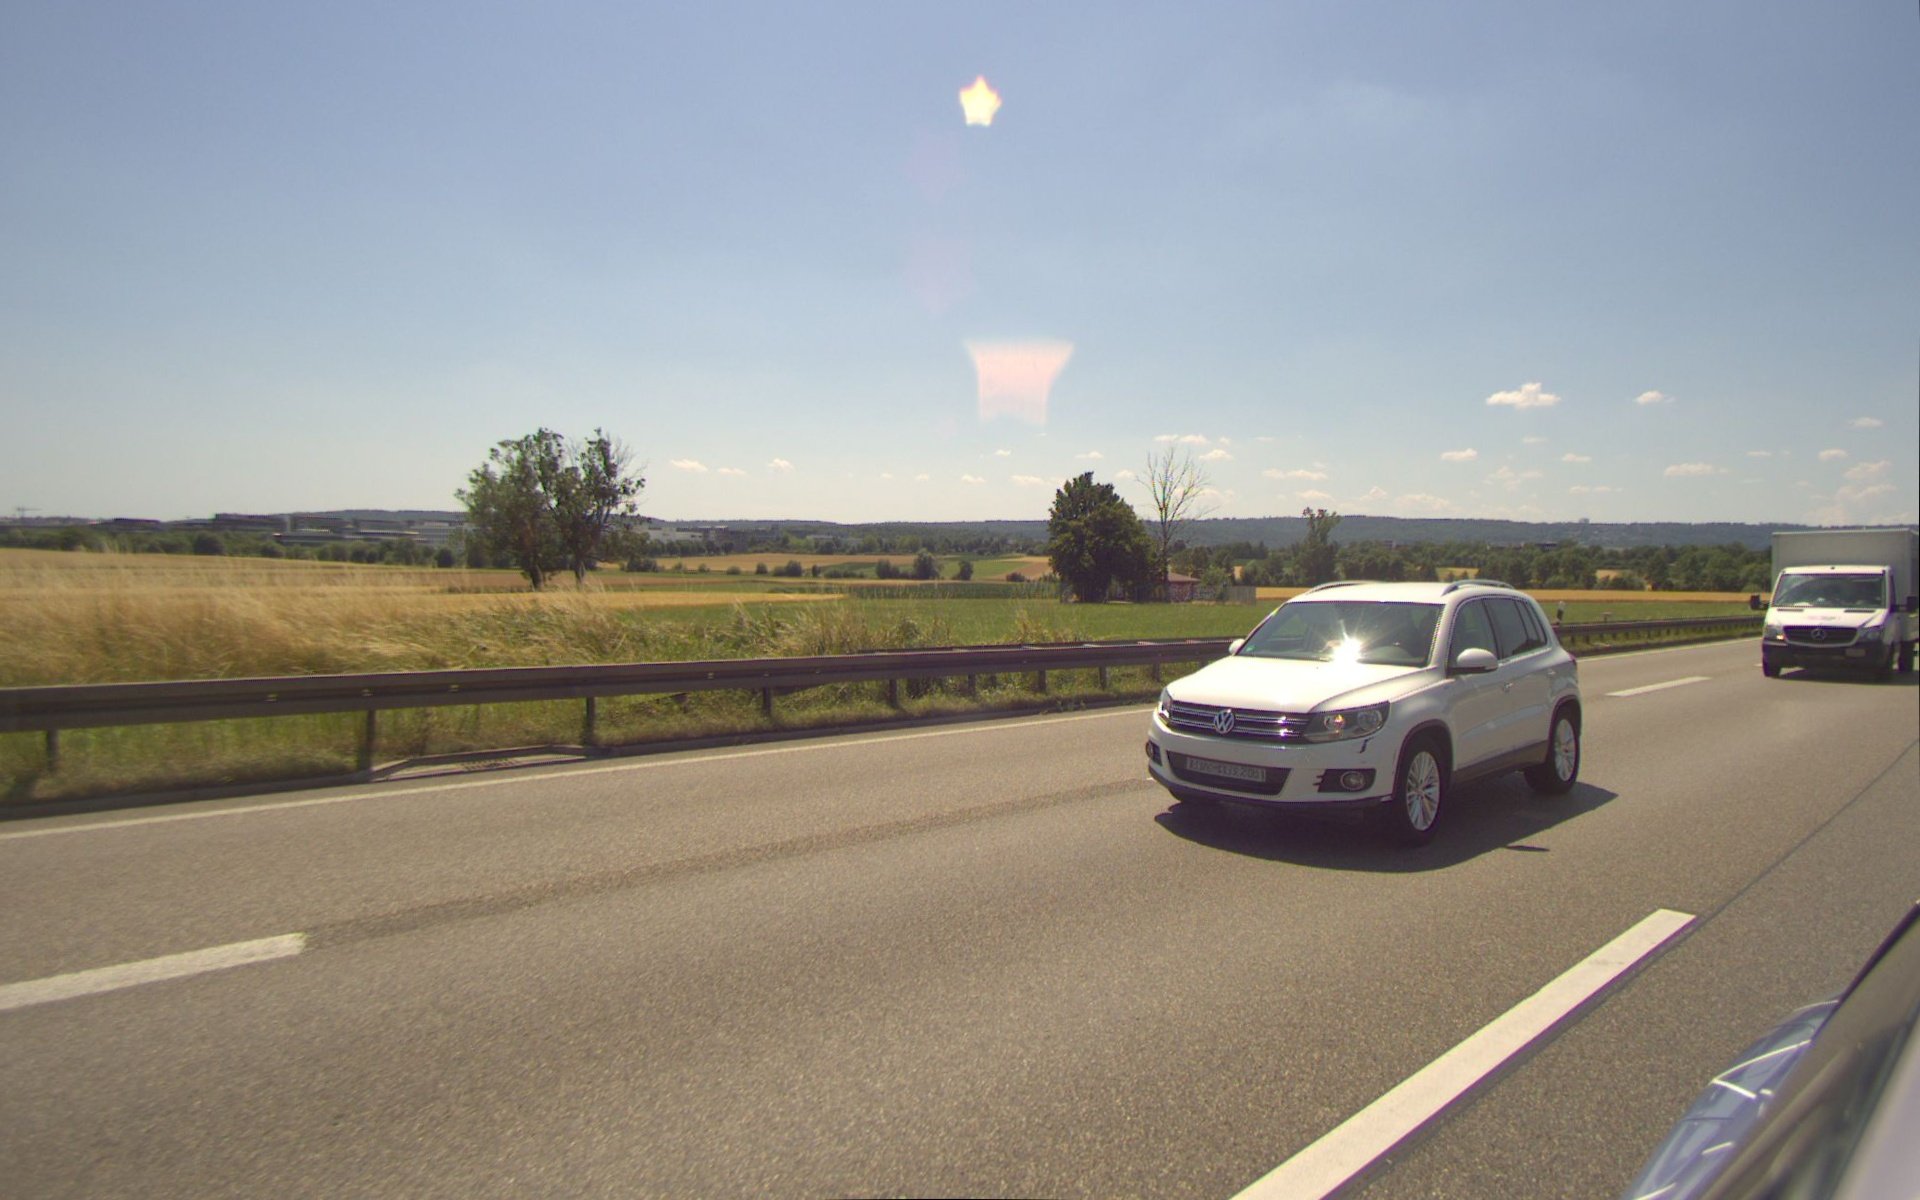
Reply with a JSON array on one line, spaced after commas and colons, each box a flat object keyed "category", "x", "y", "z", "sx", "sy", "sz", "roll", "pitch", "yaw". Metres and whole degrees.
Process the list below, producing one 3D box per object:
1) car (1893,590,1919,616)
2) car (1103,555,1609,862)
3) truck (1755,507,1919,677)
[{"category": "car", "x": 67.193, "y": 0.180, "z": 71.326, "sx": 3.934, "sy": 1.811, "sz": 1.908, "roll": 0, "pitch": 1, "yaw": -44}, {"category": "car", "x": 3.110, "y": 0.588, "z": 7.544, "sx": 4.099, "sy": 1.666, "sz": 1.835, "roll": 0, "pitch": 0, "yaw": -41}, {"category": "truck", "x": 19.035, "y": -0.159, "z": 21.500, "sx": 6.801, "sy": 3.066, "sz": 2.441, "roll": 0, "pitch": 0, "yaw": -44}]
